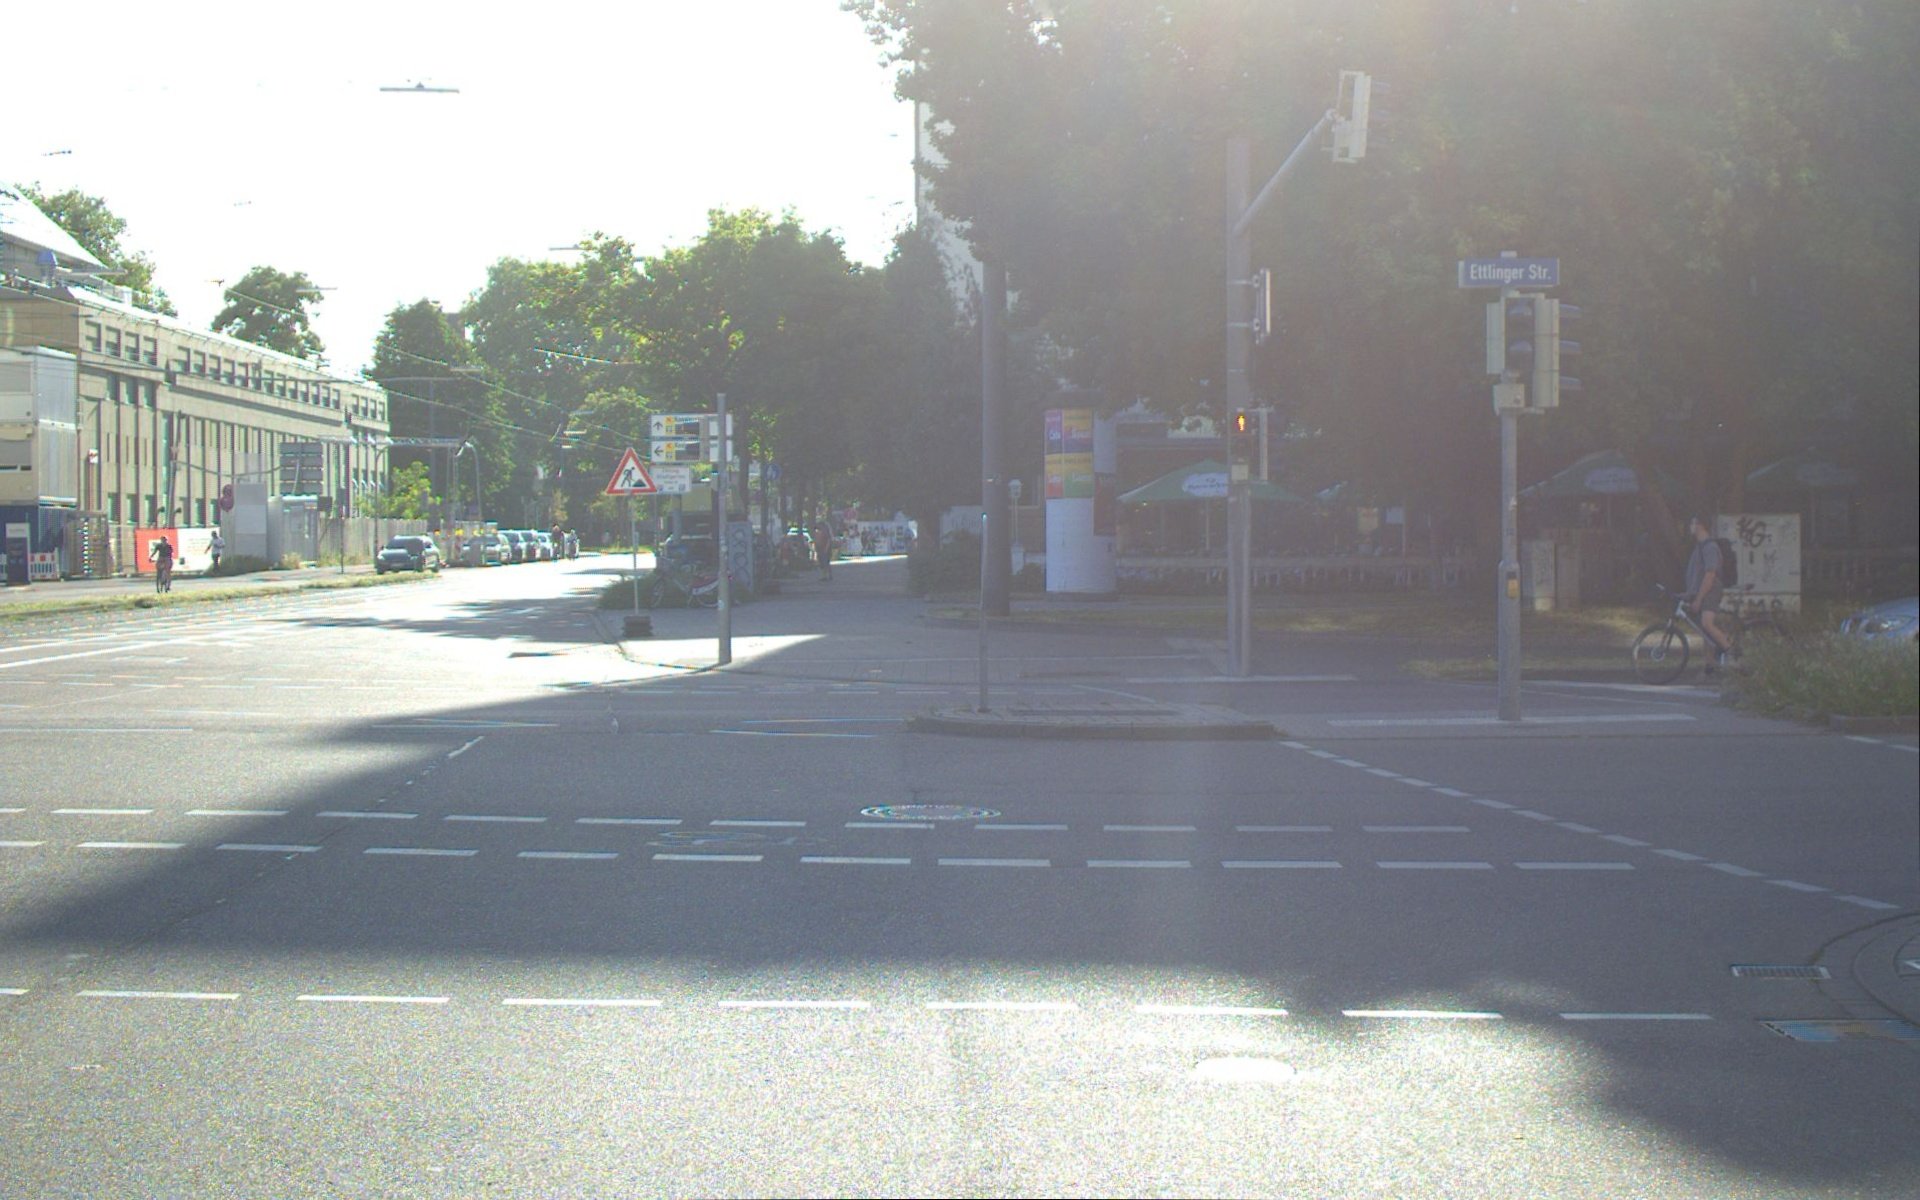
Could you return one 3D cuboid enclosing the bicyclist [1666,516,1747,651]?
[{"bbox_3d":[7.888,-0.180,36.372,0.747,1.401,0.702,1,0,6],"label":"bicyclist"}]

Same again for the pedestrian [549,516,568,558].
[{"bbox_3d":[-20.062,-3.133,171.762,0.751,2.056,1.050,1,0,5],"label":"pedestrian"}]

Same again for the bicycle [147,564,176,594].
[{"bbox_3d":[-22.366,-0.588,96.327,0.494,0.836,1.156,-1,1,2],"label":"bicycle"}]

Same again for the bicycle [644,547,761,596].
[{"bbox_3d":[-5.038,-0.560,67.220,2.244,0.937,0.654,-1,1,-5],"label":"bicycle"}]

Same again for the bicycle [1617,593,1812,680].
[{"bbox_3d":[7.970,0.383,36.373,1.944,0.886,0.718,1,0,6],"label":"bicycle"}]

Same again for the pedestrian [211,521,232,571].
[{"bbox_3d":[-27.754,-2.033,129.193,0.588,1.883,0.478,1,0,12],"label":"pedestrian"}]

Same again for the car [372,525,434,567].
[{"bbox_3d":[-22.048,-2.149,136.260,1.993,1.593,4.001,-1,1,-3],"label":"car"}]

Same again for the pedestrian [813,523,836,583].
[{"bbox_3d":[-3.851,-1.339,97.562,0.576,1.683,0.585,-1,1,-8],"label":"pedestrian"}]

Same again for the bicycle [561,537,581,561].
[{"bbox_3d":[-19.986,-2.628,176.758,0.750,1.201,3.108,1,1,-2],"label":"bicycle"}]

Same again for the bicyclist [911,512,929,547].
[{"bbox_3d":[-2.340,-4.115,200.521,0.890,2.007,0.749,1,0,-12],"label":"bicyclist"}]

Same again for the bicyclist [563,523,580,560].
[{"bbox_3d":[-19.980,-3.003,176.634,0.750,1.913,1.215,1,0,-2],"label":"bicyclist"}]

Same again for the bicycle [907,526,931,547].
[{"bbox_3d":[-2.406,-3.694,200.741,0.890,1.215,2.794,1,1,-12],"label":"bicycle"}]

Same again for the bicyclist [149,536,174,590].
[{"bbox_3d":[-22.374,-1.038,96.311,0.494,1.493,0.666,-1,1,2],"label":"bicyclist"}]

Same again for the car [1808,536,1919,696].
[{"bbox_3d":[10.834,0.170,33.565,4.576,1.511,2.000,1,0,0],"label":"car"}]

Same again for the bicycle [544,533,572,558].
[{"bbox_3d":[-20.069,-2.709,171.700,0.751,1.201,3.107,1,1,5],"label":"bicycle"}]
